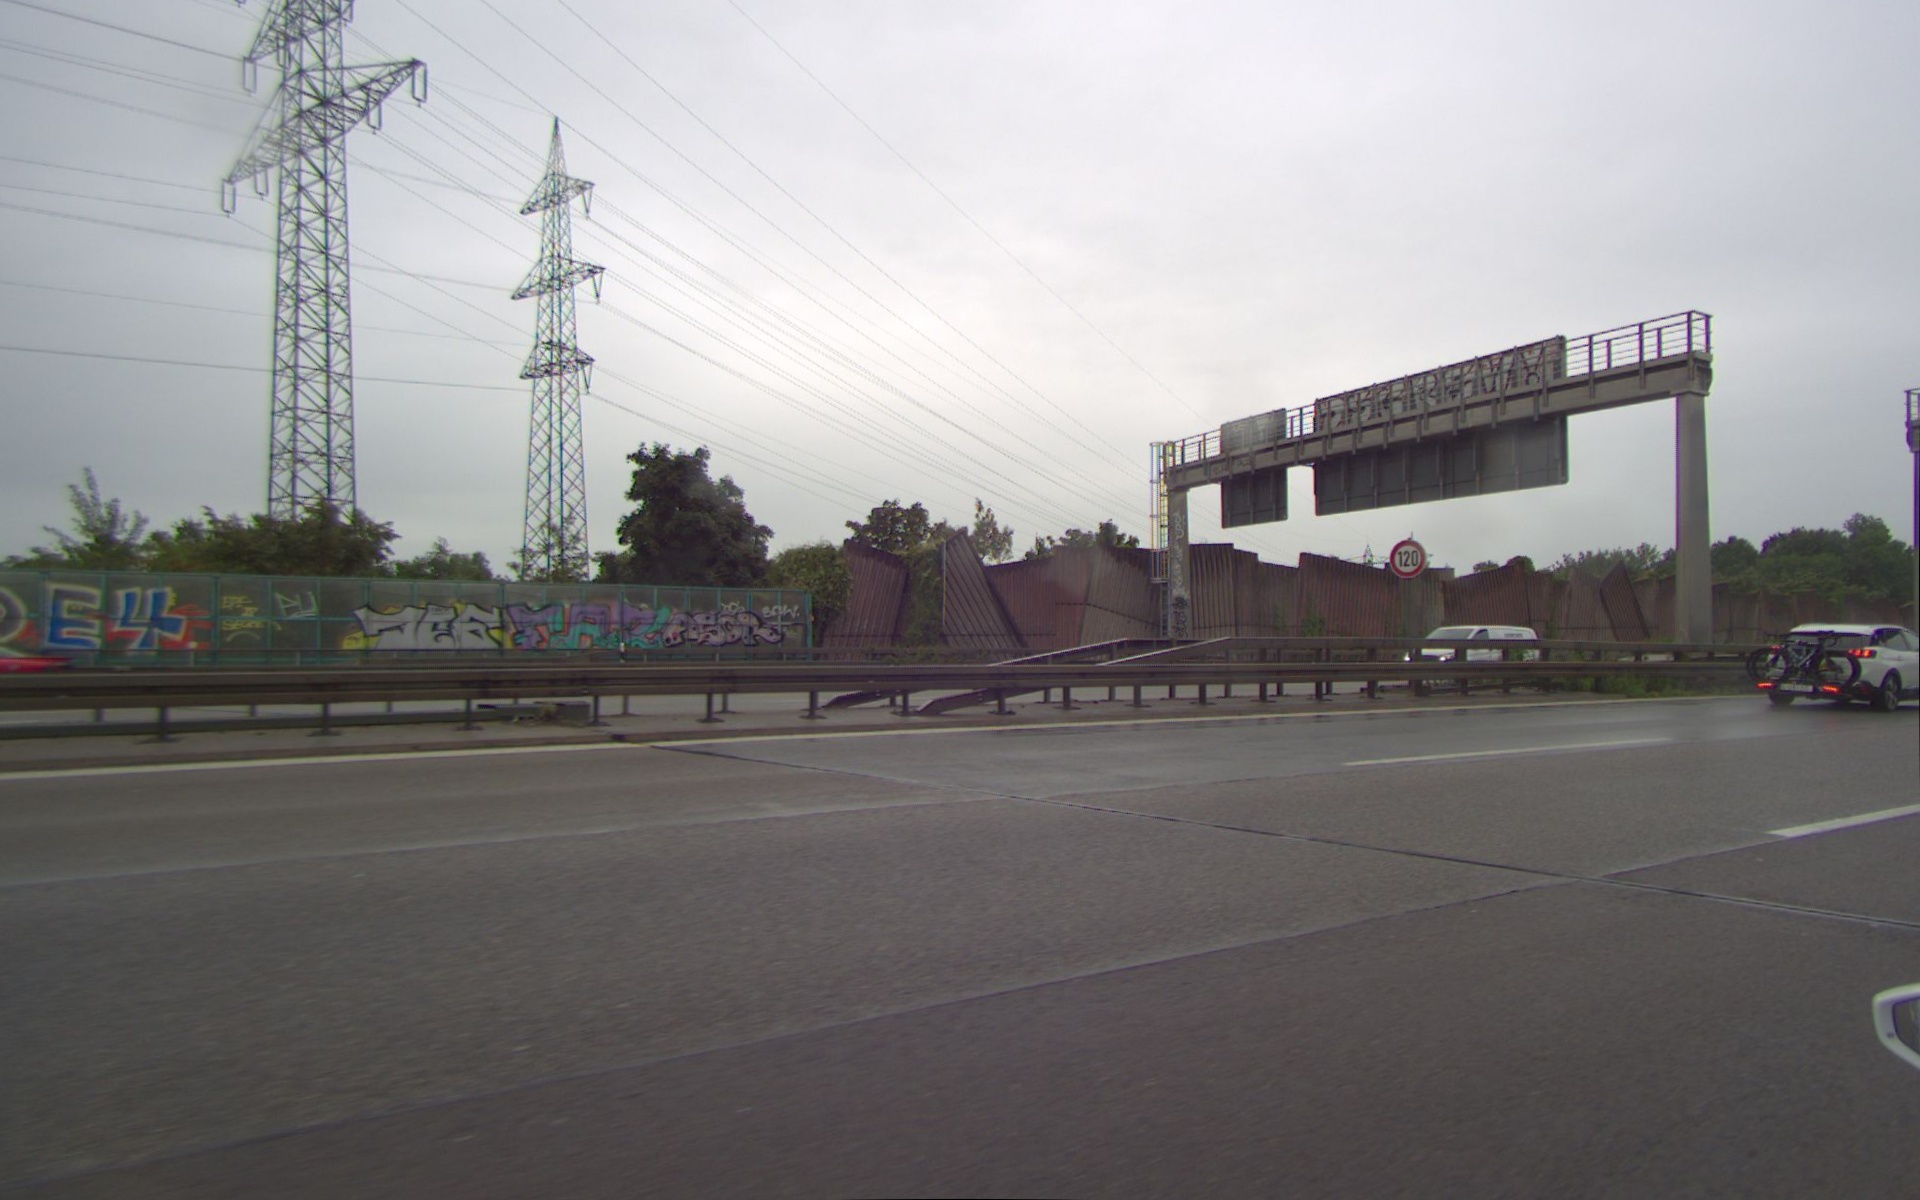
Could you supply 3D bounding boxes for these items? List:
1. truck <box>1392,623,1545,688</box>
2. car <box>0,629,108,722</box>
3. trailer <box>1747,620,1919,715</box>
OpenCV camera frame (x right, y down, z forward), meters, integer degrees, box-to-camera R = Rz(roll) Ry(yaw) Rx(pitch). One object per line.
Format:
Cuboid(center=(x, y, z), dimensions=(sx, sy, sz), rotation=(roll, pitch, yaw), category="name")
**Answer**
Cuboid(center=(16.644, 1.771, 32.819), dimensions=(5.187, 1.956, 1.984), rotation=(1, -1, -30), category="truck")
Cuboid(center=(-20.611, 1.492, 20.129), dimensions=(5.047, 1.807, 1.984), rotation=(1, -1, -30), category="car")
Cuboid(center=(17.450, 1.259, 19.496), dimensions=(4.512, 1.646, 1.807), rotation=(2, -1, -29), category="trailer")
